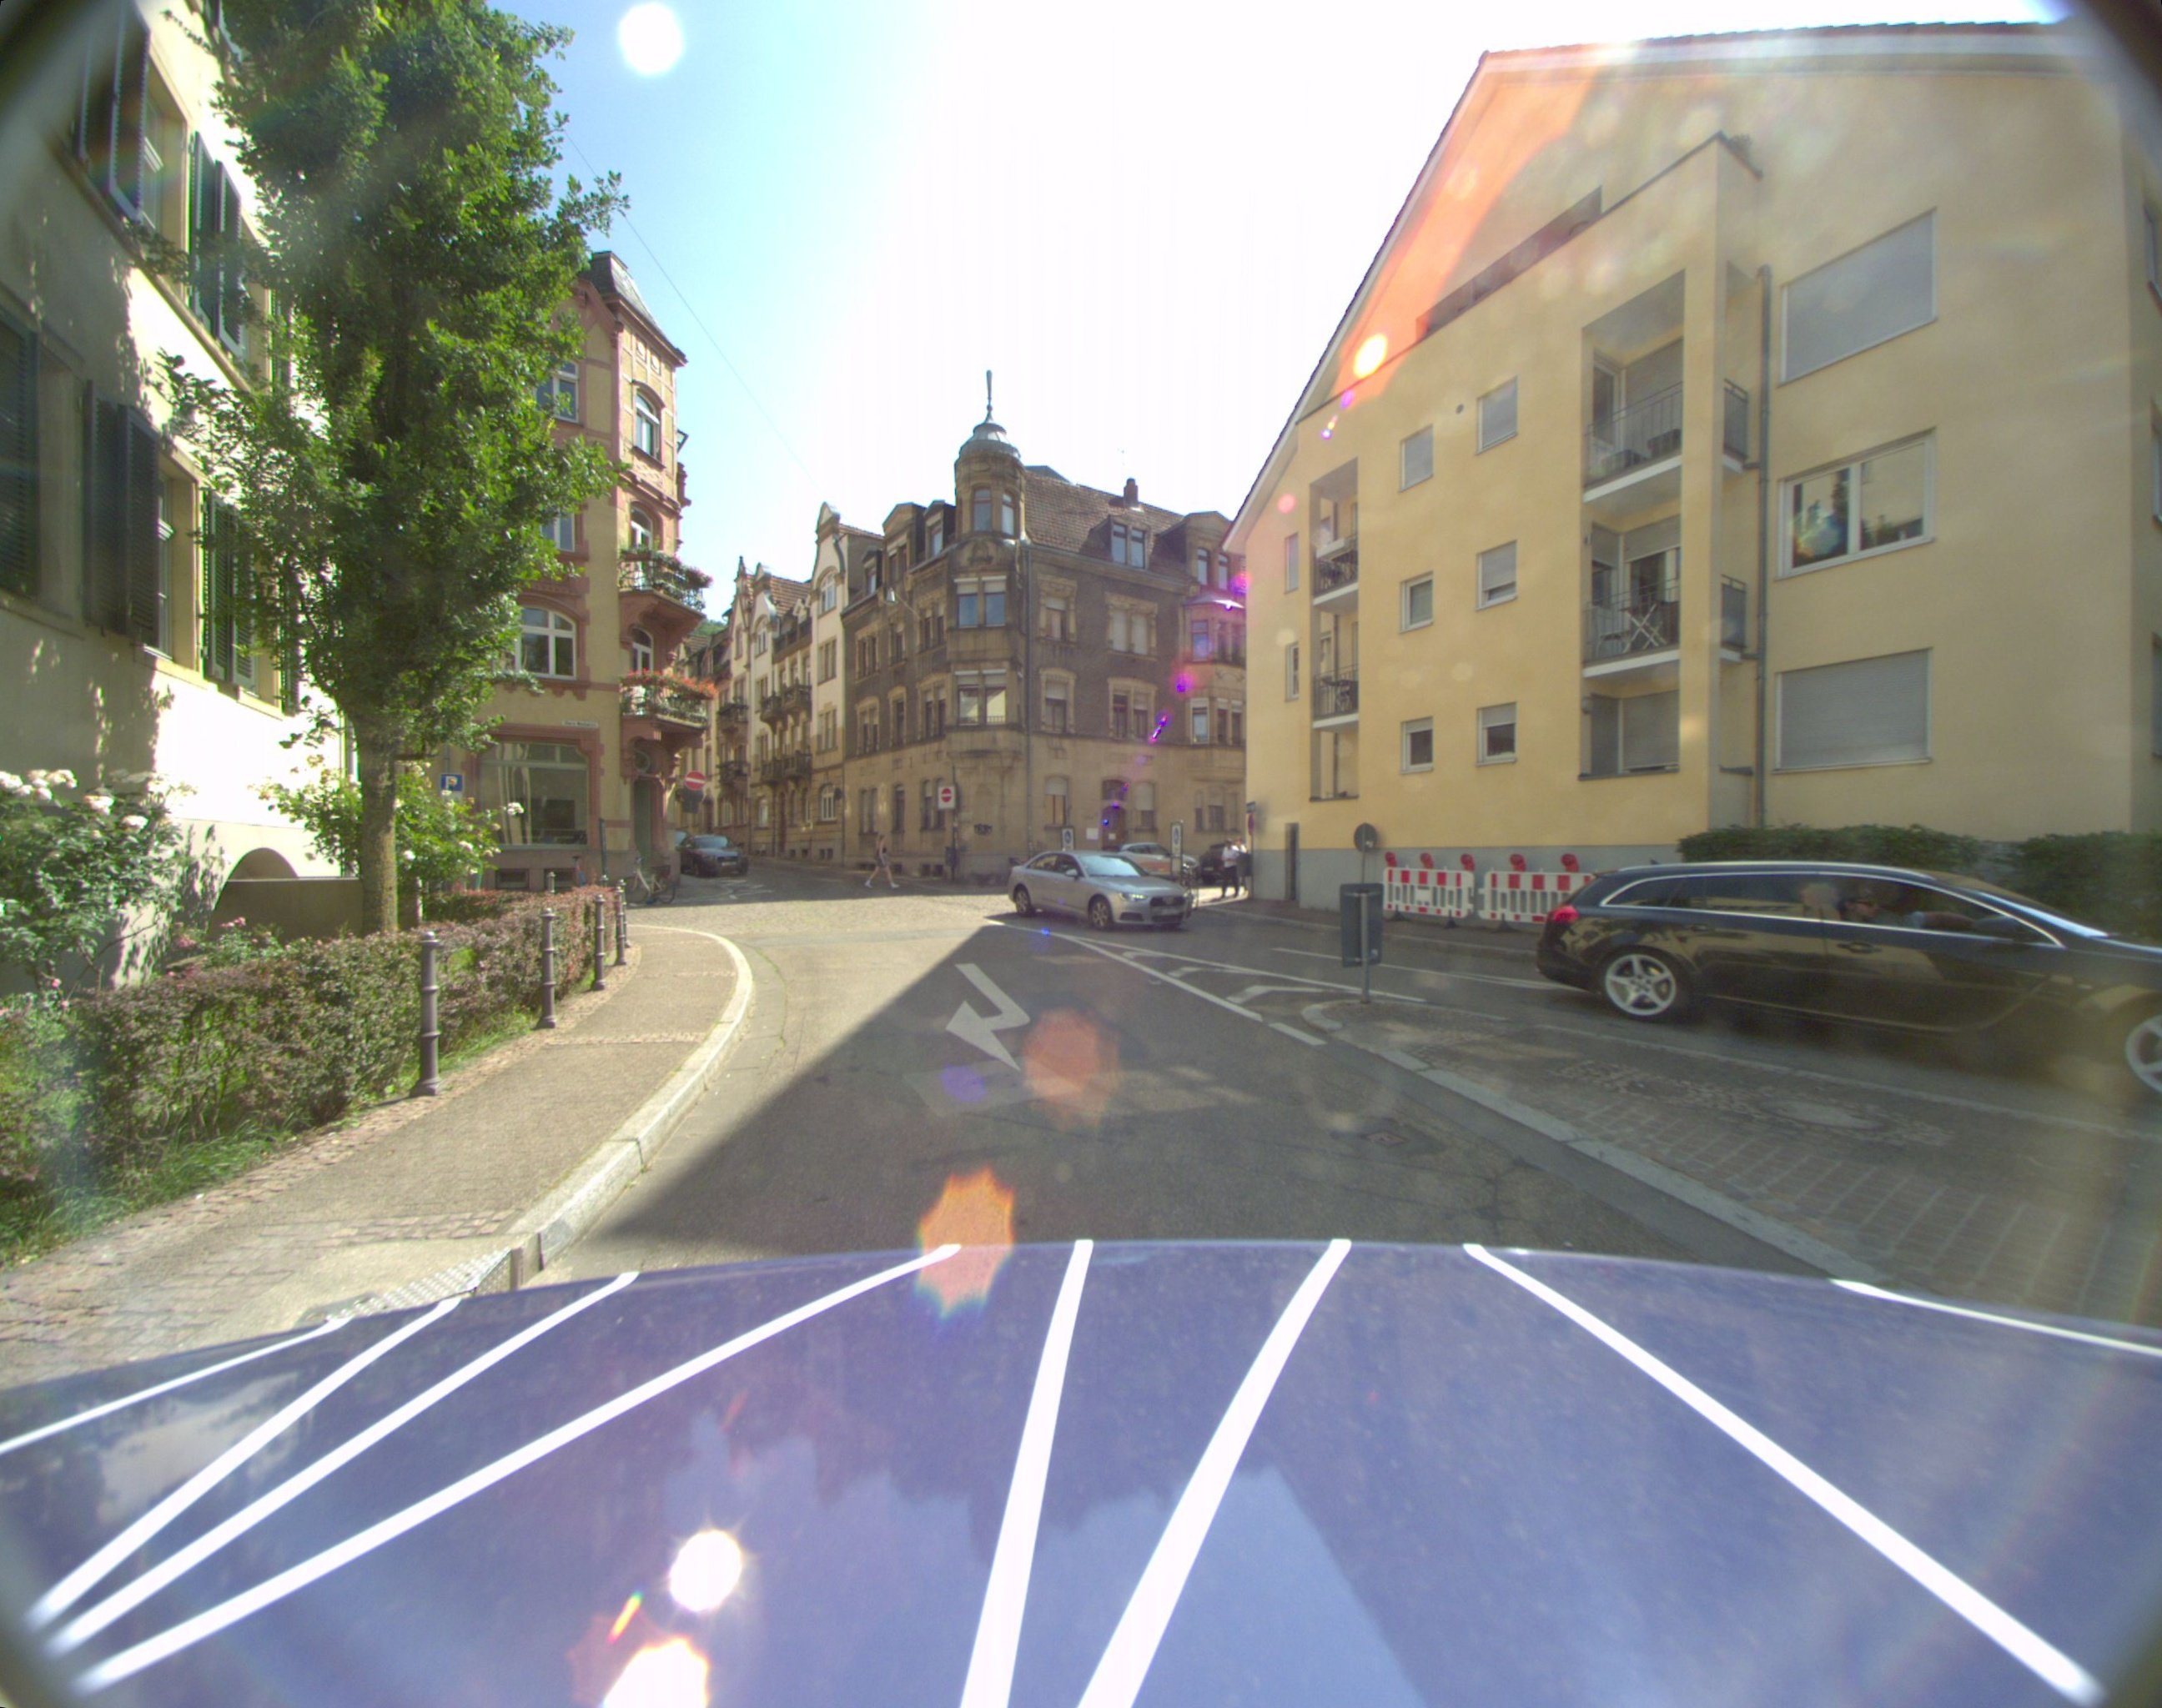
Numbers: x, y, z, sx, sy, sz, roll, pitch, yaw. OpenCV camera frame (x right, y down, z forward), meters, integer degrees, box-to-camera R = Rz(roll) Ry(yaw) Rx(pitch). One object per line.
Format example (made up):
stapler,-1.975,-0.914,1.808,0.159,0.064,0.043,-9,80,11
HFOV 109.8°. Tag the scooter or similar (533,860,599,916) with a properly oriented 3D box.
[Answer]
scooter or similar,-11.852,0.757,17.509,1.193,1.228,0.441,-1,1,-44

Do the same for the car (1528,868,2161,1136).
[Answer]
car,6.307,0.902,5.767,1.723,1.453,4.712,2,-1,-33

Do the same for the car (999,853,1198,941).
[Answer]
car,0.177,0.738,15.362,1.880,1.484,4.371,0,1,-33

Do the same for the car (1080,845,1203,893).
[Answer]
car,2.136,0.478,26.489,3.935,1.535,1.848,0,1,-31

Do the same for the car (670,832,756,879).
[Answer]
car,-14.362,-0.003,29.549,1.866,1.574,4.246,-3,4,-41

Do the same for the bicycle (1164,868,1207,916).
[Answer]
bicycle,2.579,0.914,18.966,0.392,1.073,1.907,0,1,-14

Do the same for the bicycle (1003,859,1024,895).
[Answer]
bicycle,-2.191,0.734,24.453,0.286,1.080,1.640,-3,2,-16

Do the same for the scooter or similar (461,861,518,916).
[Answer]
scooter or similar,-13.387,0.769,17.201,1.188,1.202,0.342,0,1,13

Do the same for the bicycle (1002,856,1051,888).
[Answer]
bicycle,-1.922,0.631,26.829,1.645,1.080,0.494,0,5,-31

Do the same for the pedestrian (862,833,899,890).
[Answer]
pedestrian,-6.406,0.229,24.247,0.982,1.749,0.621,-1,5,-32

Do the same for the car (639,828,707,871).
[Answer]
car,-18.017,-0.257,33.471,1.765,1.697,3.987,-4,5,-40

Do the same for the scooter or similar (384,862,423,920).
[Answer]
scooter or similar,-14.602,0.779,16.377,1.187,1.202,0.343,1,1,34

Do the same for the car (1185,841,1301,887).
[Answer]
car,6.048,0.334,28.259,4.006,1.535,1.848,-1,1,-30

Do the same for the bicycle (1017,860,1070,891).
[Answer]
bicycle,-1.246,0.712,25.091,1.637,1.084,0.285,2,46,48

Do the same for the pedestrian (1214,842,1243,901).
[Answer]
pedestrian,4.073,0.473,21.004,0.658,1.609,0.491,-2,3,-44

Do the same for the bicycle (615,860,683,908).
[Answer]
bicycle,-10.843,0.730,19.064,1.789,1.139,0.506,1,1,23
